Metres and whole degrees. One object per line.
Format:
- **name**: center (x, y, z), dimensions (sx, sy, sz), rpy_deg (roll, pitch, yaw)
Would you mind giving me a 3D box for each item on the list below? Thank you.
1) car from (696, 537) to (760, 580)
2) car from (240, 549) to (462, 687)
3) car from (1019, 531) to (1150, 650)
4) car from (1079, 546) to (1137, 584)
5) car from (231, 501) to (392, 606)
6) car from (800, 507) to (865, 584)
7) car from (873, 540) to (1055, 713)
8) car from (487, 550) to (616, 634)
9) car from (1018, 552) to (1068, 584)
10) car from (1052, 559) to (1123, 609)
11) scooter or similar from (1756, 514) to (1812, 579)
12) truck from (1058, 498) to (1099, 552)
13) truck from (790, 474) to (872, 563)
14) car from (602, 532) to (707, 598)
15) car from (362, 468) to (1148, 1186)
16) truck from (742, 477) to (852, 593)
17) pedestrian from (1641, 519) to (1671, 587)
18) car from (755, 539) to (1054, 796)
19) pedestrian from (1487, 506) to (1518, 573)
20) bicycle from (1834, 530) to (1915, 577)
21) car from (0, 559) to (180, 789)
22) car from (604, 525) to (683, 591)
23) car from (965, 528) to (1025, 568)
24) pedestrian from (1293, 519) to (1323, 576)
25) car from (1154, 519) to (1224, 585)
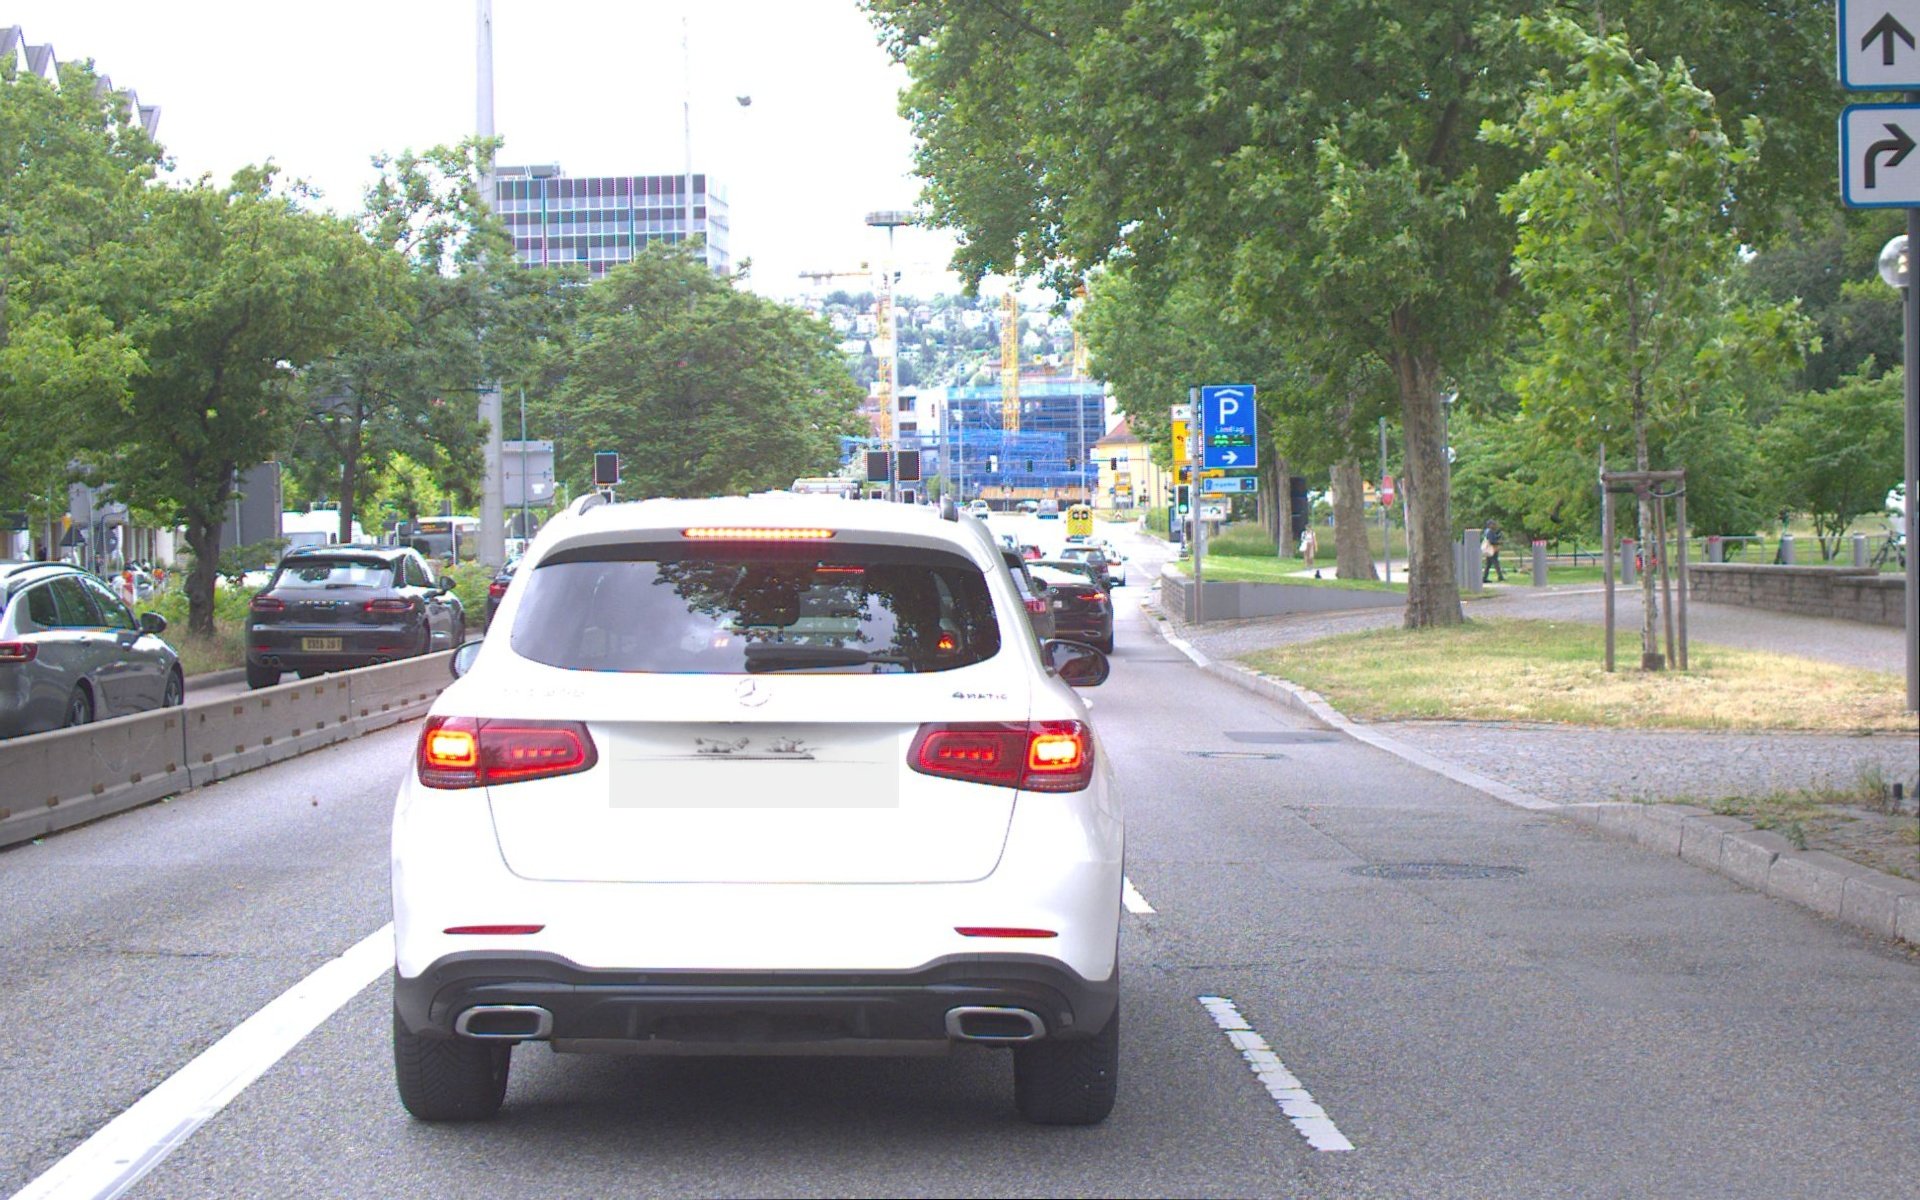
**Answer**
- **car**: center (-7.106, -1.272, 105.662), dimensions (1.659, 1.315, 3.547), rpy_deg (0, 1, 1)
- **car**: center (-6.793, 0.166, 38.706), dimensions (1.776, 1.415, 4.000), rpy_deg (-1, 1, 0)
- **car**: center (1.884, -0.182, 53.073), dimensions (1.825, 1.746, 4.000), rpy_deg (-1, 1, 0)
- **car**: center (5.222, -1.240, 121.878), dimensions (1.947, 1.315, 4.016), rpy_deg (0, 1, 1)
- **car**: center (-12.836, -0.935, 68.377), dimensions (2.115, 1.962, 5.578), rpy_deg (-1, 1, 0)
- **car**: center (-4.190, -1.804, 113.561), dimensions (1.993, 2.467, 4.000), rpy_deg (-1, 1, 0)
- **car**: center (-0.009, 0.230, 34.437), dimensions (1.659, 1.633, 3.548), rpy_deg (0, 1, -3)
- **car**: center (-6.594, -0.151, 55.769), dimensions (1.659, 1.315, 3.547), rpy_deg (0, 1, 0)
- **car**: center (3.492, -1.349, 144.204), dimensions (1.947, 1.315, 4.016), rpy_deg (0, 1, 3)
- **car**: center (3.653, -0.480, 99.109), dimensions (1.947, 1.423, 4.016), rpy_deg (0, 1, 1)
- **scooter or similar**: center (16.255, -1.040, 67.849), dimensions (0.636, 1.241, 2.225), rpy_deg (1, 0, 2)
- **truck**: center (9.007, -5.687, 261.393), dimensions (2.877, 4.089, 6.638), rpy_deg (1, 1, 1)
- **truck**: center (-4.519, -2.833, 121.064), dimensions (2.691, 2.981, 5.638), rpy_deg (1, 0, -1)
- **car**: center (-6.198, -0.715, 70.010), dimensions (1.659, 1.315, 3.547), rpy_deg (0, 1, 3)
- **car**: center (-0.669, 0.474, 10.177), dimensions (1.787, 1.619, 4.438), rpy_deg (-1, 1, -5)
- **truck**: center (-4.175, -1.685, 89.153), dimensions (2.621, 2.851, 7.079), rpy_deg (0, 1, -1)
- **pedestrian**: center (16.652, -1.124, 82.218), dimensions (0.638, 1.605, 0.663), rpy_deg (-1, 1, 8)
- **car**: center (-0.455, 0.398, 23.367), dimensions (1.795, 1.603, 3.755), rpy_deg (0, 1, -5)
- **pedestrian**: center (14.075, -1.582, 89.210), dimensions (0.759, 1.719, 0.698), rpy_deg (-1, 1, 8)
- **bicycle**: center (19.712, -0.997, 74.158), dimensions (0.954, 0.972, 2.787), rpy_deg (1, 0, 0)
- **car**: center (-6.560, 0.445, 23.351), dimensions (1.661, 1.431, 3.960), rpy_deg (0, 0, 0)
- **car**: center (-7.464, -0.989, 81.321), dimensions (1.659, 1.508, 3.548), rpy_deg (-1, 1, -2)
- **car**: center (1.161, -1.718, 113.602), dimensions (1.947, 1.315, 4.016), rpy_deg (0, 1, 1)
- **pedestrian**: center (12.327, -1.865, 121.746), dimensions (0.761, 2.007, 0.697), rpy_deg (0, 1, 36)
- **car**: center (7.095, -1.500, 106.763), dimensions (1.993, 2.007, 4.000), rpy_deg (0, 1, 1)
